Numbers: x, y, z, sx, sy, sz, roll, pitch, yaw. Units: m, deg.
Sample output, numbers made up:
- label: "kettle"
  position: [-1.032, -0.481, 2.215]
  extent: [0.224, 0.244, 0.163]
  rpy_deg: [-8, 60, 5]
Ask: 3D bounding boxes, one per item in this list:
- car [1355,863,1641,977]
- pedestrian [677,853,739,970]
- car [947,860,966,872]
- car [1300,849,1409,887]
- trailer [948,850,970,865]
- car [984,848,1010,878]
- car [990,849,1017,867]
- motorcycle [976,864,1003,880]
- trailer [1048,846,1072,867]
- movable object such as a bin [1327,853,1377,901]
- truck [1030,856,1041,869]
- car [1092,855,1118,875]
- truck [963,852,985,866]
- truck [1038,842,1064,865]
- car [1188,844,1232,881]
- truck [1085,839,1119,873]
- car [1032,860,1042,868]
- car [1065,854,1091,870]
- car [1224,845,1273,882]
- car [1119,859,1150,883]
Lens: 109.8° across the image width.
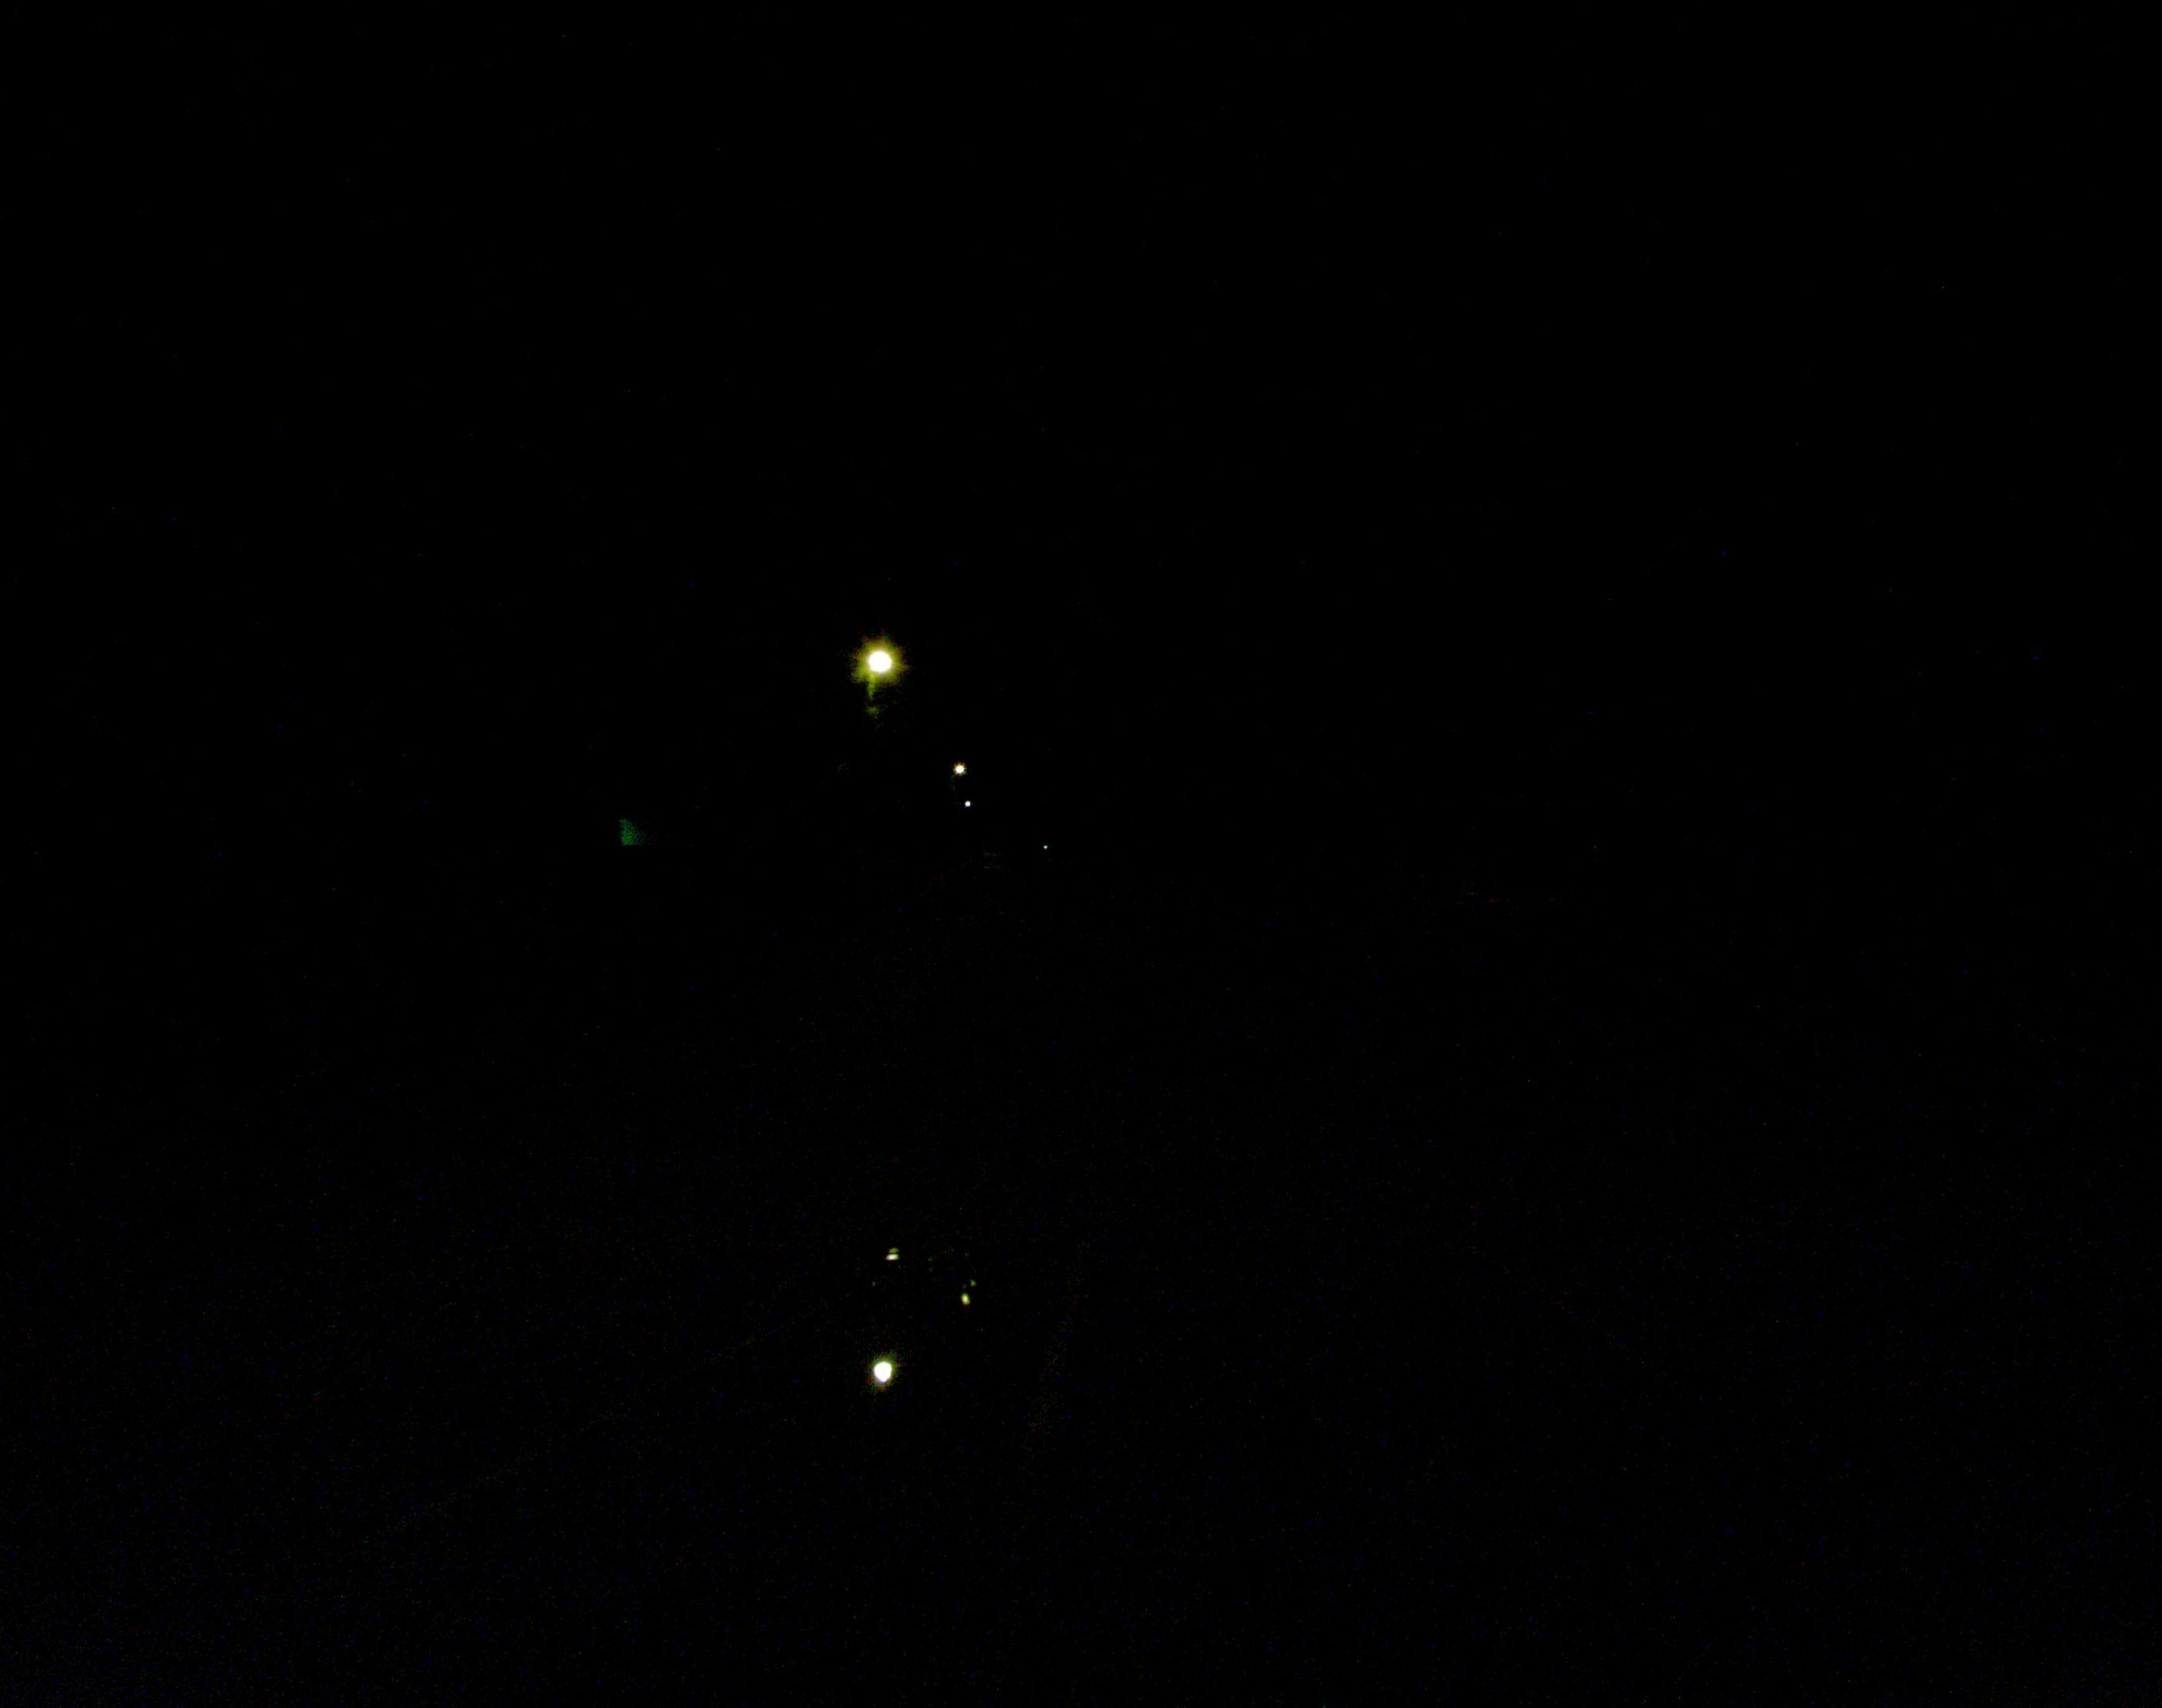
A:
- label: "car"
  position: [6.096, 0.862, 11.825]
  extent: [1.916, 1.395, 4.337]
  rpy_deg: [-1, 0, -3]
- label: "pedestrian"
  position: [-6.089, 0.914, 12.438]
  extent: [0.572, 1.842, 0.820]
  rpy_deg: [-1, 0, -3]
- label: "car"
  position: [-21.705, 2.152, 132.170]
  extent: [2.002, 2.002, 5.345]
  rpy_deg: [-3, 0, -23]
- label: "car"
  position: [11.694, 0.583, 32.593]
  extent: [3.998, 1.561, 1.816]
  rpy_deg: [-1, 0, -4]
- label: "trailer"
  position: [-25.623, 0.845, 159.762]
  extent: [2.494, 3.054, 7.938]
  rpy_deg: [-1, 0, -25]
- label: "car"
  position: [-7.434, 0.772, 67.795]
  extent: [2.026, 2.512, 6.049]
  rpy_deg: [-2, 0, -4]
- label: "car"
  position: [-14.210, 0.751, 139.705]
  extent: [2.393, 3.224, 7.216]
  rpy_deg: [-2, 0, -27]
- label: "motorcycle"
  position: [-7.685, 1.506, 63.685]
  extent: [2.180, 1.177, 0.770]
  rpy_deg: [-3, 0, 28]
- label: "trailer"
  position: [-2.933, 0.309, 104.105]
  extent: [2.213, 2.779, 4.610]
  rpy_deg: [-1, 0, -15]
- label: "movable object such as a bin"
  position: [8.851, 0.743, 24.867]
  extent: [1.168, 1.487, 1.065]
  rpy_deg: [-1, 0, -6]
- label: "truck"
  position: [-9.387, 1.658, 156.533]
  extent: [2.139, 2.597, 7.096]
  rpy_deg: [-1, 0, -5]
- label: "car"
  position: [2.205, 0.978, 70.027]
  extent: [1.834, 1.806, 4.836]
  rpy_deg: [-1, 0, -5]
- label: "truck"
  position: [-21.494, 0.985, 152.044]
  extent: [2.003, 2.767, 7.228]
  rpy_deg: [-1, 0, -27]
- label: "truck"
  position: [-4.431, -0.012, 110.611]
  extent: [2.382, 3.224, 7.224]
  rpy_deg: [-1, 0, -13]
- label: "car"
  position: [8.368, 0.546, 49.697]
  extent: [1.998, 2.308, 4.967]
  rpy_deg: [0, 0, 0]
- label: "truck"
  position: [2.039, 0.193, 76.746]
  extent: [2.551, 3.261, 7.309]
  rpy_deg: [-1, 0, -5]
- label: "car"
  position: [-8.570, 1.973, 148.105]
  extent: [1.863, 1.630, 3.998]
  rpy_deg: [-1, 0, -6]
- label: "car"
  position: [-0.391, 0.960, 92.404]
  extent: [2.001, 1.761, 4.687]
  rpy_deg: [-1, 0, -14]
- label: "car"
  position: [10.991, 0.597, 50.286]
  extent: [2.213, 2.308, 4.624]
  rpy_deg: [-1, 0, 0]
- label: "car"
  position: [3.573, 1.092, 51.429]
  extent: [1.759, 1.517, 4.322]
  rpy_deg: [-1, 0, 1]
